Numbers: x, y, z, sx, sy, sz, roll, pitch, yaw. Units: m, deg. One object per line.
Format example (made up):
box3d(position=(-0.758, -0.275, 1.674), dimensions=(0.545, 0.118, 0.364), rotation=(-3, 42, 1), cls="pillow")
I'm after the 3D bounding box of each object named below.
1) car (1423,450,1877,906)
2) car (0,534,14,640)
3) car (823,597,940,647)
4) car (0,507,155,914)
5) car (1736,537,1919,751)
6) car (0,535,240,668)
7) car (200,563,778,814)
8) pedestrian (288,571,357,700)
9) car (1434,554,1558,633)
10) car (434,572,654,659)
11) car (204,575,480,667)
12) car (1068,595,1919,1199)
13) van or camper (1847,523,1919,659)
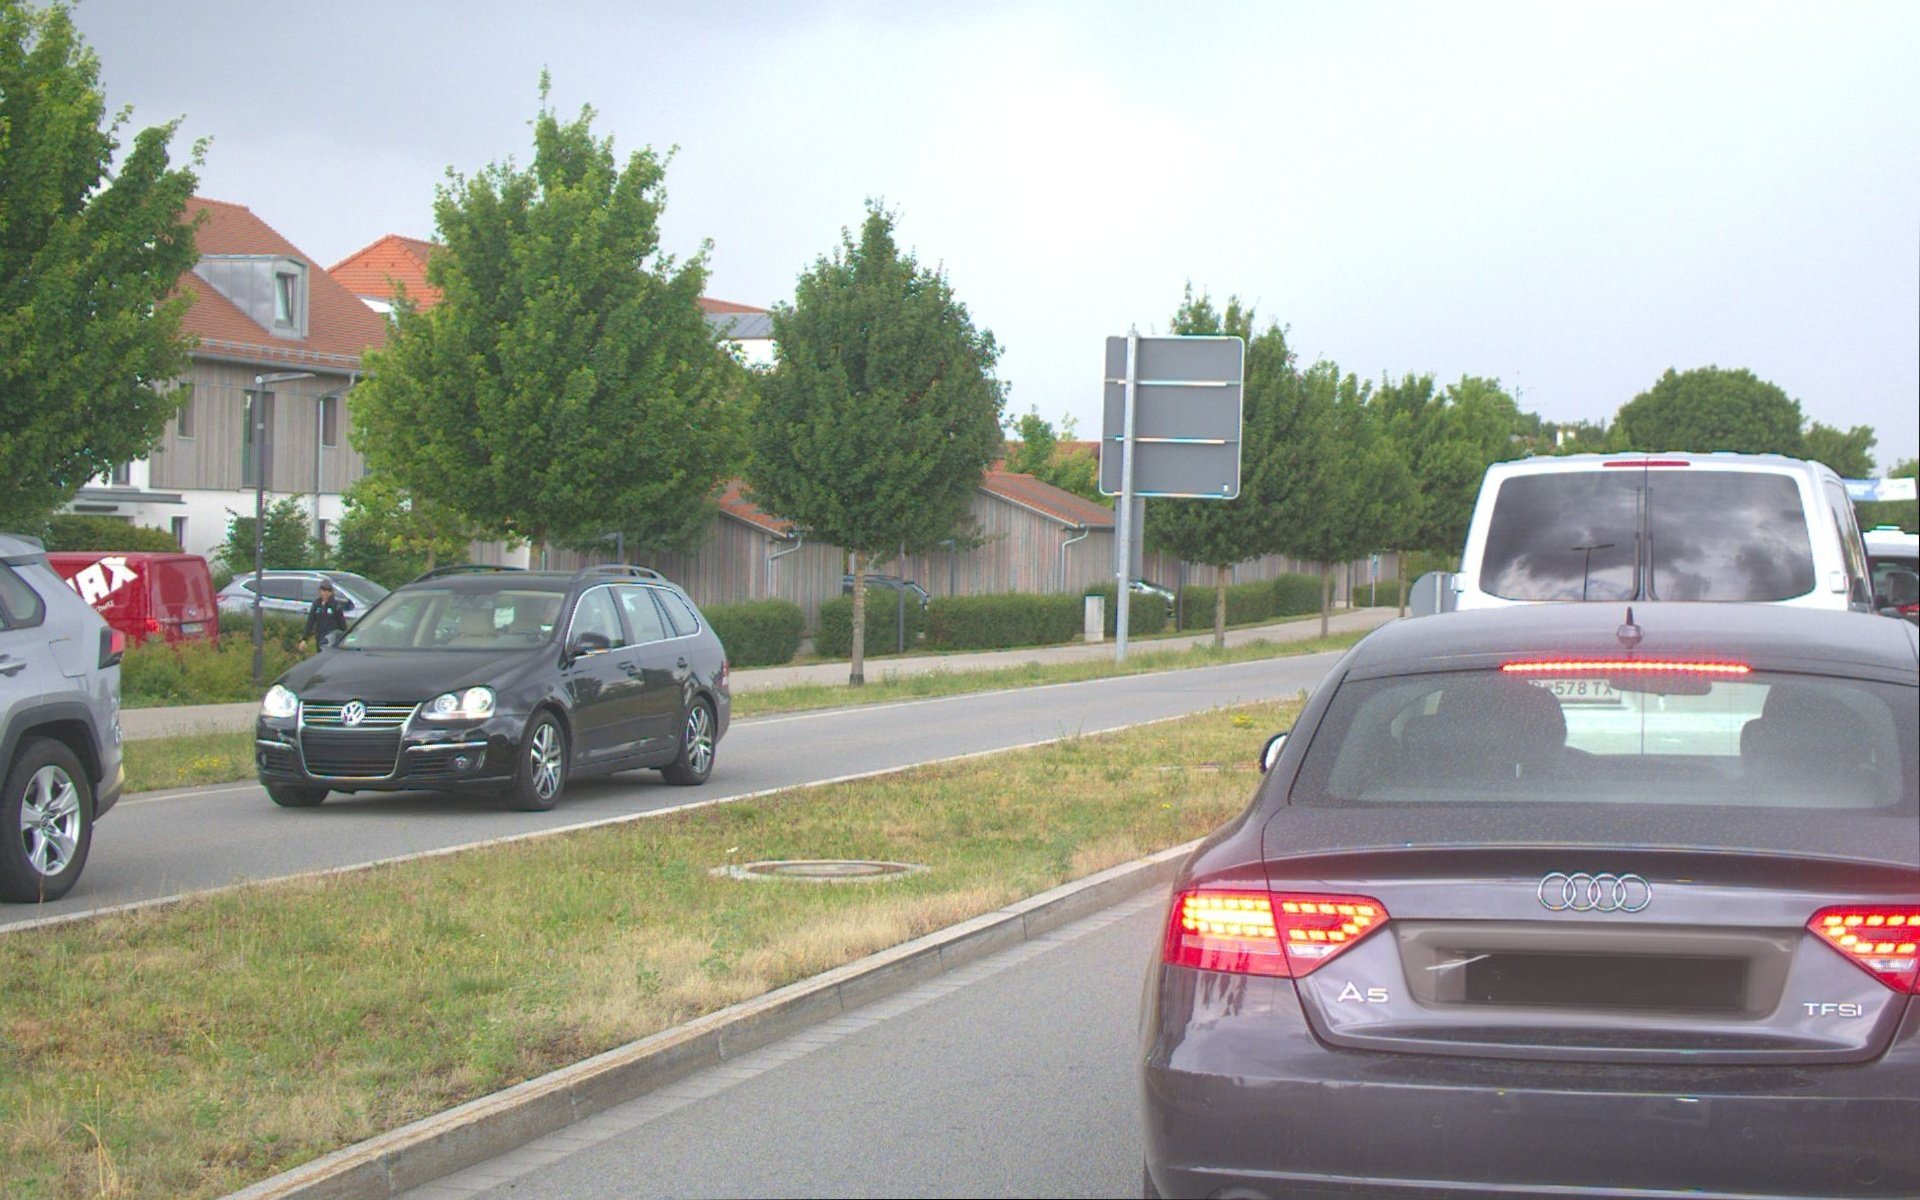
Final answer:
box3d(position=(3.438, 0.328, 16.779), dimensions=(1.868, 1.927, 3.998), rotation=(-2, 0, 14), cls="car")
box3d(position=(-17.690, -0.257, 56.188), dimensions=(1.996, 1.766, 4.460), rotation=(2, 0, 21), cls="car")
box3d(position=(-1.791, 0.499, 78.638), dimensions=(2.473, 1.025, 1.185), rotation=(2, 1, 11), cls="car")
box3d(position=(-5.233, 0.467, 13.617), dimensions=(1.995, 1.698, 4.631), rotation=(0, 1, 16), cls="car")
box3d(position=(7.479, 0.322, 28.551), dimensions=(1.778, 1.612, 3.997), rotation=(2, 1, 16), cls="car")
box3d(position=(-12.365, -0.023, 46.974), dimensions=(4.535, 1.674, 1.998), rotation=(2, 1, 19), cls="car")
box3d(position=(-2.822, 0.493, 21.700), dimensions=(1.755, 1.411, 4.451), rotation=(-1, 0, 19), cls="car")
box3d(position=(-7.831, 0.427, 42.246), dimensions=(0.582, 1.553, 0.659), rotation=(2, 1, 14), cls="pedestrian")
box3d(position=(10.264, -0.124, 65.605), dimensions=(1.731, 1.405, 4.202), rotation=(2, 1, 17), cls="car")
box3d(position=(-7.814, 0.284, 64.678), dimensions=(3.731, 1.477, 1.685), rotation=(2, 1, 13), cls="car")
box3d(position=(-9.882, 0.321, 55.100), dimensions=(3.917, 1.310, 1.841), rotation=(2, 1, 14), cls="car")
box3d(position=(1.544, 0.704, 7.599), dimensions=(1.785, 1.387, 4.130), rotation=(0, 1, 14), cls="car")
box3d(position=(24.254, -0.184, 88.291), dimensions=(2.627, 3.312, 6.816), rotation=(2, 0, 15), cls="van or camper")
